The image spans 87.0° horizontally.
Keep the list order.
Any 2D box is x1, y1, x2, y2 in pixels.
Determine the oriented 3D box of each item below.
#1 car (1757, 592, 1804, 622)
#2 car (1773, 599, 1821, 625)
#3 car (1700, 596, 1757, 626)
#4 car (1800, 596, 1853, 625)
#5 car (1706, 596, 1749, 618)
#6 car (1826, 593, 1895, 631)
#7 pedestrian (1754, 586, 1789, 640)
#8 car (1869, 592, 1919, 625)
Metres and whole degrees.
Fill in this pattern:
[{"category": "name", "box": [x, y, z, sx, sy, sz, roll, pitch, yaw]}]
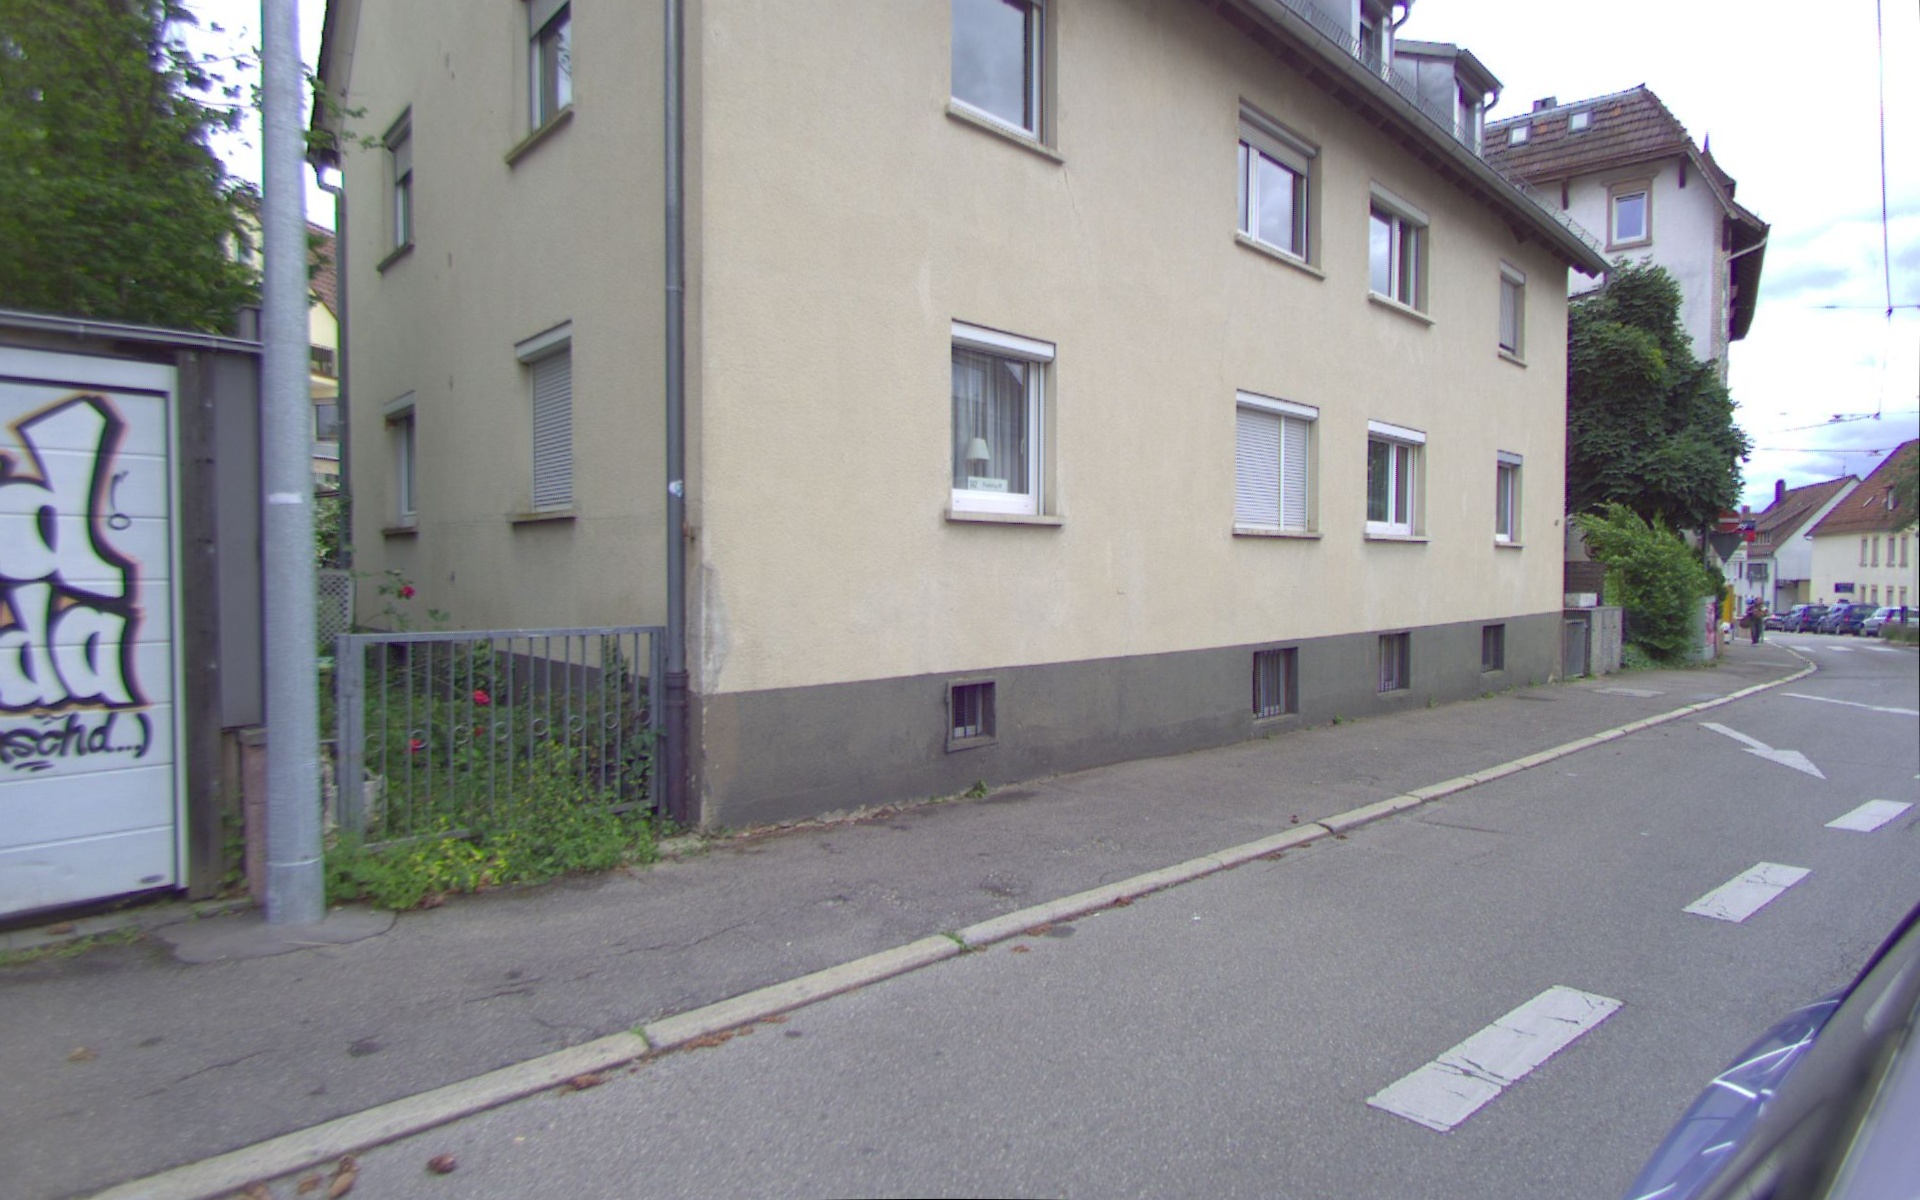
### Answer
[{"category": "car", "box": [59.745, 0.524, 73.728, 1.982, 2.039, 3.958, 1, -1, 29]}, {"category": "car", "box": [57.546, 0.852, 69.637, 1.706, 1.753, 3.961, 1, -1, 27]}, {"category": "car", "box": [42.662, 0.607, 56.257, 1.759, 1.498, 3.794, 4, 1, 27]}, {"category": "car", "box": [55.214, 0.678, 64.542, 1.706, 1.753, 3.961, 1, -1, 27]}, {"category": "car", "box": [65.830, 0.600, 86.866, 2.261, 1.753, 3.961, 1, -1, 28]}, {"category": "car", "box": [51.742, 0.687, 58.217, 1.758, 1.967, 4.283, 4, 1, 26]}, {"category": "pedestrian", "box": [27.103, 0.429, 33.803, 0.855, 1.755, 1.008, 0, -1, 36]}, {"category": "car", "box": [48.956, 0.474, 52.404, 1.757, 1.639, 3.963, 1, -1, 26]}]
